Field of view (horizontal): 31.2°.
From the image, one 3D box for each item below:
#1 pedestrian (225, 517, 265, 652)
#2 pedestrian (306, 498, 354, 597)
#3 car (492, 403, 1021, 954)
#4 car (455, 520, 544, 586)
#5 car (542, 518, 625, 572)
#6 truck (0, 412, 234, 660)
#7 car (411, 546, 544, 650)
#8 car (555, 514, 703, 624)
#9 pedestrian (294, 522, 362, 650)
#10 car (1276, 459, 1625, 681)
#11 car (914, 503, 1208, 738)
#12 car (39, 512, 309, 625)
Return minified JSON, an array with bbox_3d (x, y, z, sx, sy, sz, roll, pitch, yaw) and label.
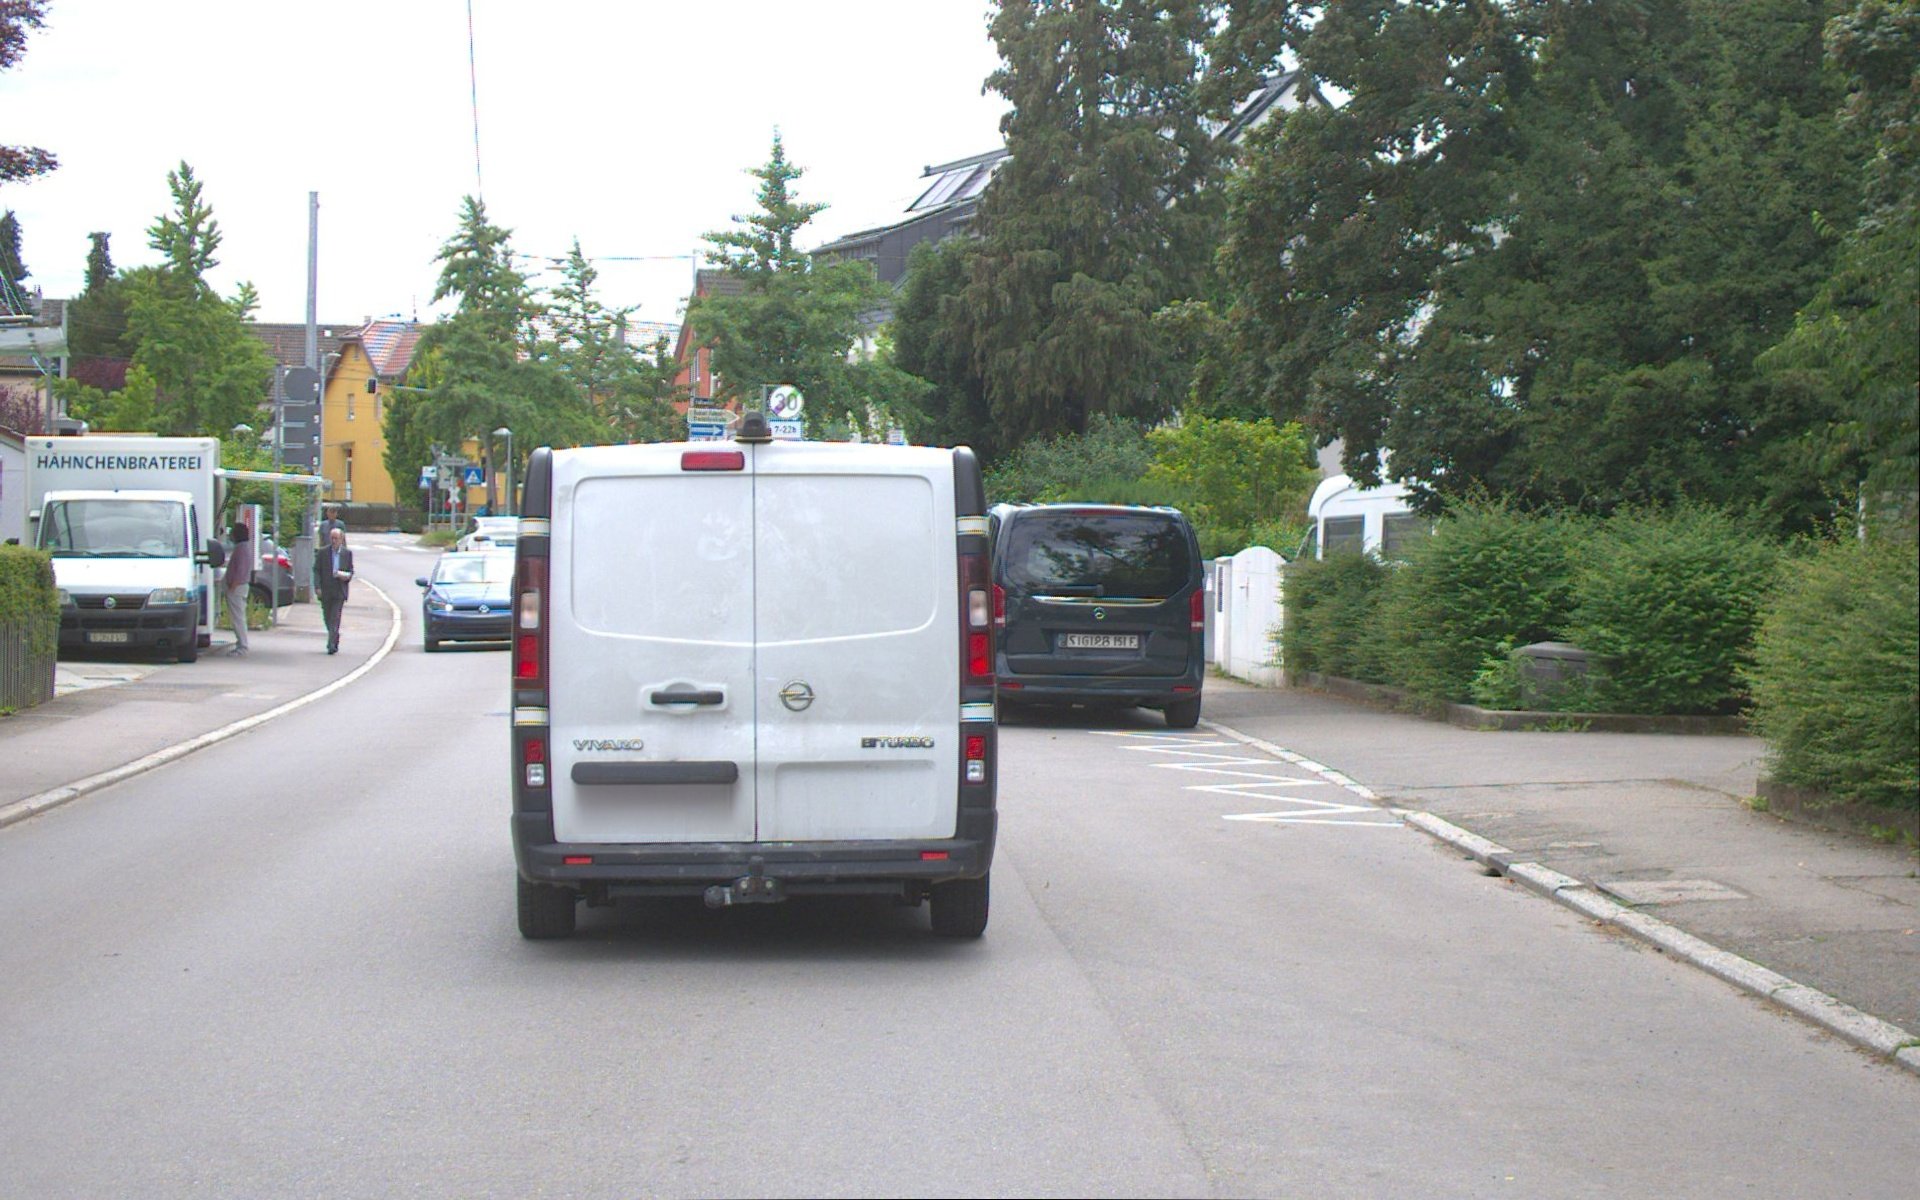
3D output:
[{"bbox_3d":[-9.154,-0.203,44.050,0.401,1.689,0.597,3,0,-11],"label":"pedestrian"},{"bbox_3d":[-12.659,-1.053,69.096,0.733,1.939,1.218,3,0,-5],"label":"pedestrian"},{"bbox_3d":[-0.992,0.262,14.753,1.915,1.996,4.439,0,1,-7],"label":"car"},{"bbox_3d":[-12.664,-1.304,94.393,1.993,1.776,4.001,0,1,-14],"label":"car"},{"bbox_3d":[-11.170,-1.634,101.819,1.741,1.489,3.656,3,0,-17],"label":"car"},{"bbox_3d":[-10.554,-0.798,43.451,2.472,2.831,6.710,1,1,-11],"label":"truck"},{"bbox_3d":[-7.133,-0.053,51.143,1.693,1.427,3.928,2,0,-5],"label":"car"},{"bbox_3d":[-5.773,-0.562,59.642,1.993,1.842,4.001,0,1,-14],"label":"car"},{"bbox_3d":[-8.569,-0.196,46.645,0.722,1.681,1.109,3,0,-5],"label":"pedestrian"},{"bbox_3d":[6.446,-0.433,45.954,2.496,2.672,5.188,3,0,-17],"label":"car"},{"bbox_3d":[0.783,0.132,30.304,1.909,1.842,5.159,1,1,-6],"label":"car"},{"bbox_3d":[-13.656,-0.548,59.692,4.310,1.690,1.798,3,0,-20],"label":"car"}]
